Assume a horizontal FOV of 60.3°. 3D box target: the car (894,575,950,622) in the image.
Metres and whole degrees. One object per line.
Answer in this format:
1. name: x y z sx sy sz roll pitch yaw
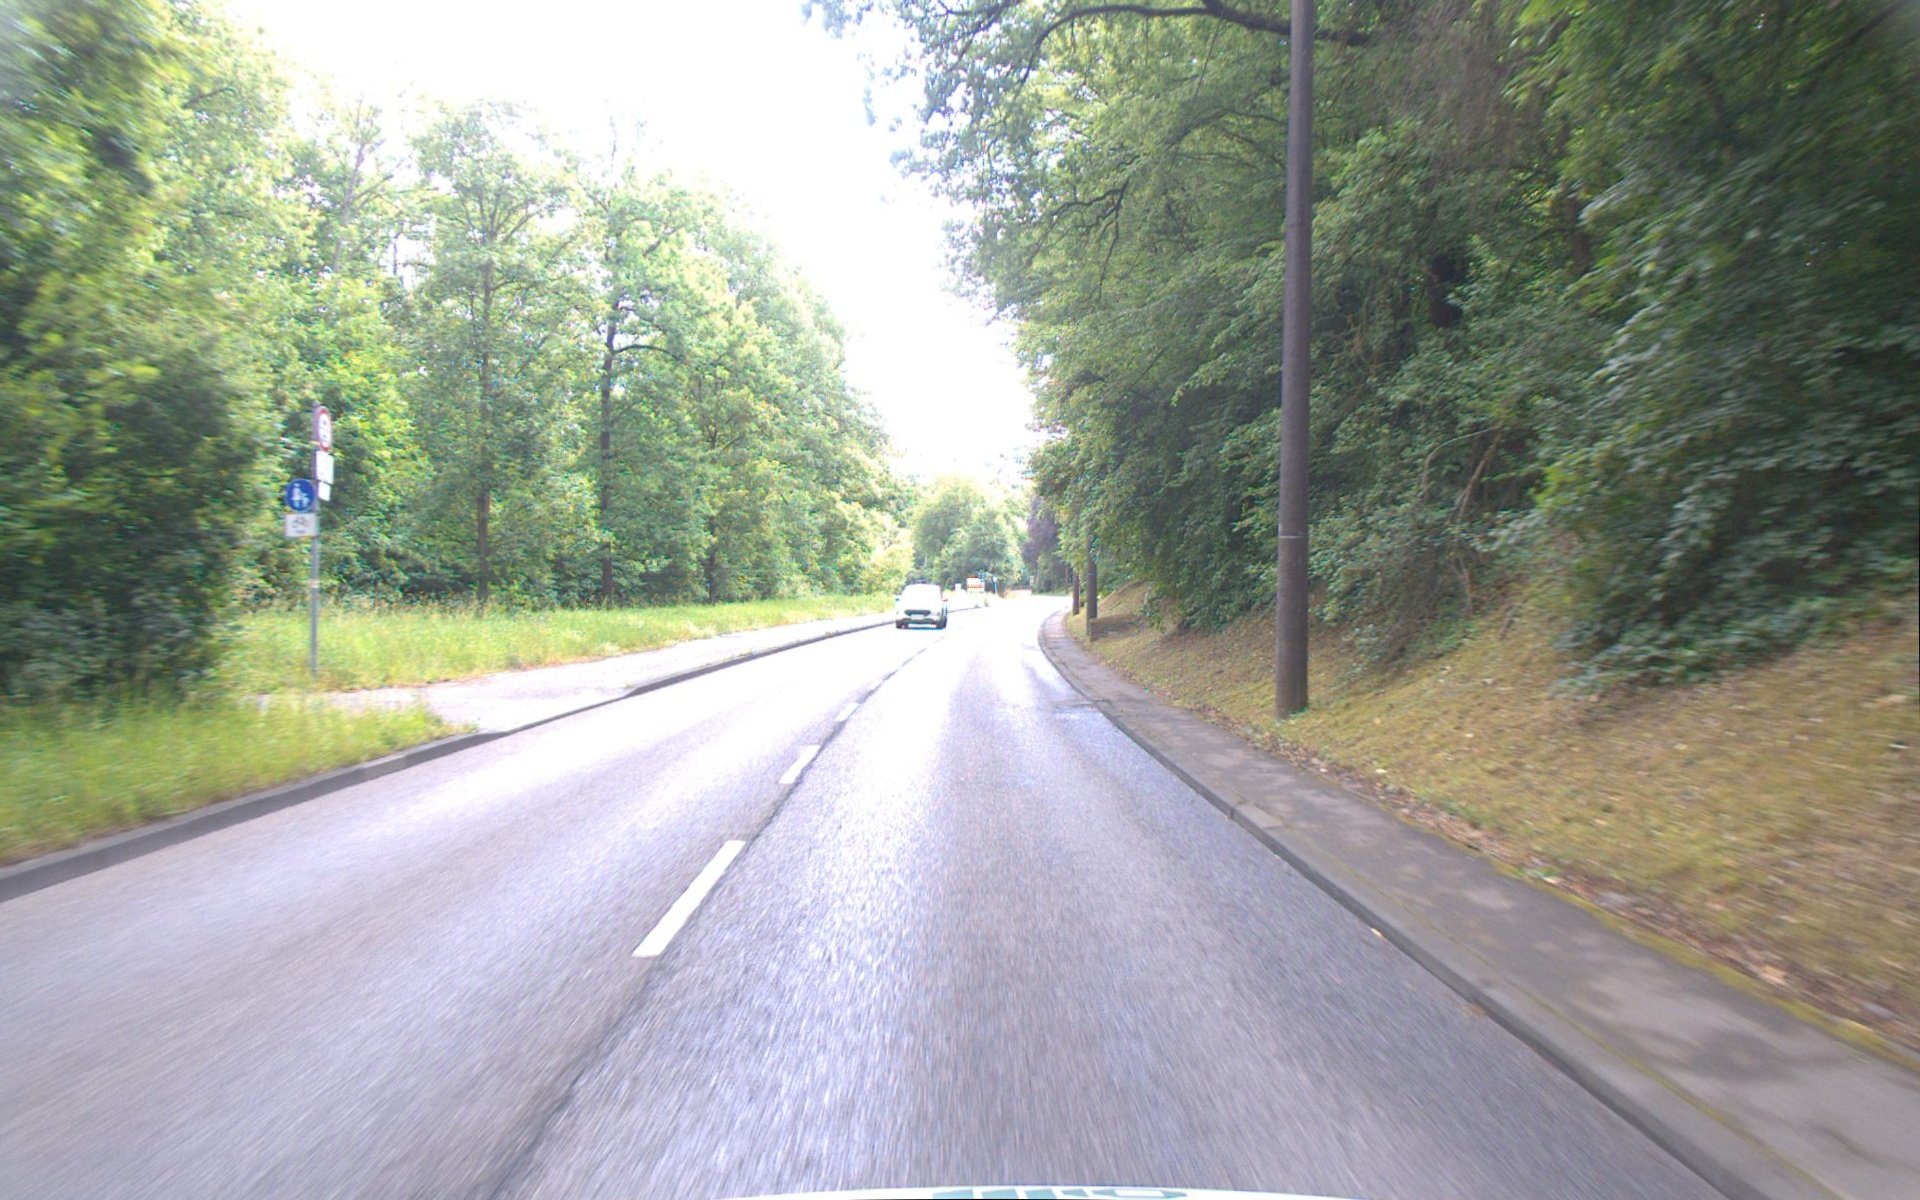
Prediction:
1. car: -1.461 -0.031 65.470 1.952 1.784 4.782 1 -1 1
